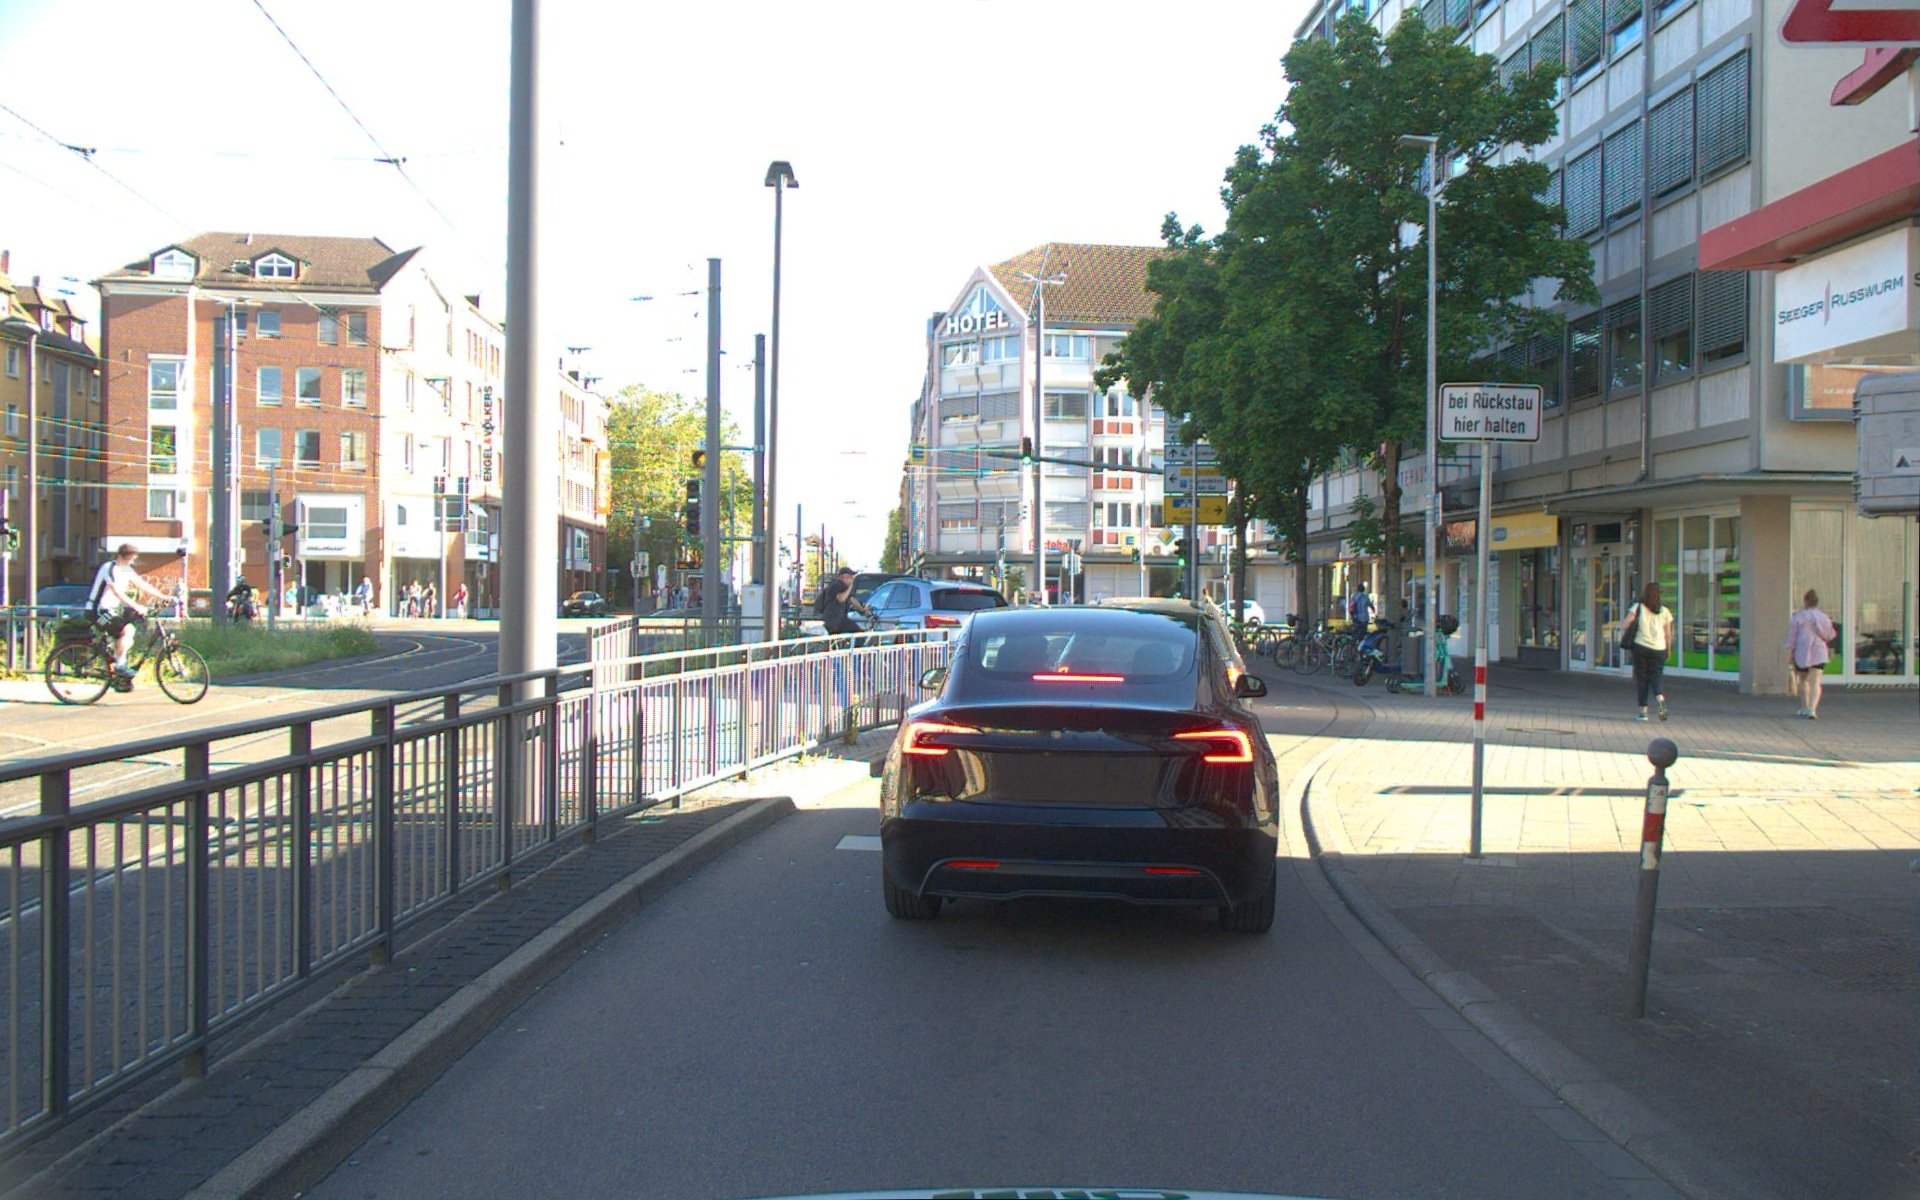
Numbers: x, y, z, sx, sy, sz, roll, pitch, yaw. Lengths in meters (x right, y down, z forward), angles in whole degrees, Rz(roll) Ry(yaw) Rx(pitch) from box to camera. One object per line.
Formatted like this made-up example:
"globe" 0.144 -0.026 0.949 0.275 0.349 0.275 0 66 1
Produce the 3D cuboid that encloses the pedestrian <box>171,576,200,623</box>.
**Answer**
"pedestrian" -31.139 -0.026 66.463 0.767 1.852 0.746 1 -1 1

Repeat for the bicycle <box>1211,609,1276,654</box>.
"bicycle" 7.290 0.802 42.574 1.616 1.118 0.350 1 -1 1

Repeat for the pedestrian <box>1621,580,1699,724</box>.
"pedestrian" 8.929 0.640 21.142 0.895 1.783 1.038 0 0 22

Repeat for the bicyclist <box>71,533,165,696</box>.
"bicyclist" -9.525 0.166 18.740 0.737 1.790 0.756 1 -1 -11

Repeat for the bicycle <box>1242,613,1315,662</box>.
"bicycle" 7.380 0.866 38.395 1.616 1.118 0.350 1 -1 1

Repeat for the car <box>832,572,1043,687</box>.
"car" -0.447 0.443 26.468 1.859 1.691 4.125 1 0 -25

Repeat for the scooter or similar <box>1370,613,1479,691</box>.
"scooter or similar" 7.659 0.840 27.288 1.610 1.236 0.644 1 -1 30

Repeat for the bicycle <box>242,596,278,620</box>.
"bicycle" -28.480 0.325 67.287 0.513 0.988 2.246 1 0 -1

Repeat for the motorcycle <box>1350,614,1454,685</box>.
"motorcycle" 7.809 0.868 29.248 1.673 1.194 0.541 1 -1 -3

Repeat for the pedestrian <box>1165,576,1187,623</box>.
"pedestrian" 7.922 -0.011 60.743 0.685 1.691 0.777 1 -1 -1

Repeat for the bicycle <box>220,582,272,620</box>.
"bicycle" -21.139 0.038 48.979 0.449 1.112 2.202 1 0 3

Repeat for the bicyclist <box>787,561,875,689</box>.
"bicyclist" -1.723 0.325 22.052 0.753 1.657 0.964 1 -1 -39

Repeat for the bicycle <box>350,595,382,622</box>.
"bicycle" -25.404 0.356 70.767 0.526 1.107 2.225 1 0 1

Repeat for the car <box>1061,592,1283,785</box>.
"car" 1.854 0.678 14.973 1.714 1.480 4.003 1 0 6

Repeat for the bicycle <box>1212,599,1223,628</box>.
"bicycle" 9.426 0.483 60.542 0.325 1.052 1.257 -1 -1 8

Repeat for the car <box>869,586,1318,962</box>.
"car" 0.679 0.709 8.696 1.791 1.481 4.002 1 0 4

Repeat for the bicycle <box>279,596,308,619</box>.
"bicycle" -29.671 0.335 73.690 0.396 0.998 1.695 1 0 7

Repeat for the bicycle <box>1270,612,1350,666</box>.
"bicycle" 7.496 0.835 35.445 1.616 1.118 0.350 1 -1 1

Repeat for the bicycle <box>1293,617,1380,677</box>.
"bicycle" 7.275 0.910 31.965 1.620 1.118 0.349 1 -1 -11

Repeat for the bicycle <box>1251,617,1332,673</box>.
"bicycle" 6.881 0.933 34.350 1.620 1.118 0.349 1 -1 -11

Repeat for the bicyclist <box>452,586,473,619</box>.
"bicyclist" -24.123 0.115 80.141 0.767 1.590 0.746 0 0 1

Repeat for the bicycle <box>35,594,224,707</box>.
"bicycle" -9.391 0.570 18.756 1.816 1.244 0.484 1 -1 -12

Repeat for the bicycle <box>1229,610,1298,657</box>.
"bicycle" 7.425 0.821 40.436 1.616 1.118 0.350 1 -1 1

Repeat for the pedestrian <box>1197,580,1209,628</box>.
"pedestrian" 8.966 0.147 60.956 0.393 1.740 0.528 1 -1 6

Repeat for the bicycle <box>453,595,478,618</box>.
"bicycle" -24.136 0.305 80.794 0.518 1.107 2.225 0 0 1

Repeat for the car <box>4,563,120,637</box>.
"car" -20.391 0.003 37.709 1.685 1.553 4.013 1 0 -20

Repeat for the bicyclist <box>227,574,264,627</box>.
"bicyclist" -21.157 0.023 48.977 0.769 1.554 0.589 1 -1 4

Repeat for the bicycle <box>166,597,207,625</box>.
"bicycle" -28.253 0.389 60.440 0.437 0.988 2.246 1 0 -1

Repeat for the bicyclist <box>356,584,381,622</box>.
"bicyclist" -25.359 0.120 70.911 0.767 1.590 0.746 1 -1 1

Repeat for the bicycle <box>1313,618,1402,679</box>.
"bicycle" 7.476 0.919 31.123 1.620 1.118 0.349 1 -1 -11

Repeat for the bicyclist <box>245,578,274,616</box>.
"bicyclist" -28.478 -0.112 67.263 0.880 1.529 0.696 1 -1 -1

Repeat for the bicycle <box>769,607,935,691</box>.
"bicycle" -1.436 0.653 22.385 2.313 1.072 0.622 1 -1 -39

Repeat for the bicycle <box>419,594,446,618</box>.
"bicycle" -25.526 0.291 80.046 0.518 1.107 2.284 1 0 1

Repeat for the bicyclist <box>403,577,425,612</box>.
"bicyclist" -25.358 -0.259 76.876 0.767 1.590 0.746 0 0 1

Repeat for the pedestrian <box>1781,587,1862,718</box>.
"pedestrian" 11.503 0.686 22.106 0.871 1.696 0.808 1 -1 23

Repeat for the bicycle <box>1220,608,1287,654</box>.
"bicycle" 7.359 0.777 41.482 1.616 1.118 0.350 0 0 1

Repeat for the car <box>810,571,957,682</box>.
"car" -1.579 0.488 32.682 1.962 2.049 3.981 0 0 -17

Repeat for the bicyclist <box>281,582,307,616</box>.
"bicyclist" -29.670 -0.039 73.651 0.689 1.496 0.973 0 0 7

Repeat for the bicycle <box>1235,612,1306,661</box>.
"bicycle" 7.396 0.868 39.422 1.616 1.118 0.350 1 -1 1

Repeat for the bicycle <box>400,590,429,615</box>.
"bicycle" -25.330 0.117 76.796 0.518 1.107 2.284 -1 0 1

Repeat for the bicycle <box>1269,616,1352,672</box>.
"bicycle" 7.092 0.888 33.490 1.620 1.118 0.349 1 -1 -11

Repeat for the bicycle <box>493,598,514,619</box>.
"bicycle" -25.319 0.469 91.742 0.518 1.107 2.225 1 0 1

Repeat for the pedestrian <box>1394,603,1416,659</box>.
"pedestrian" 10.871 0.755 40.409 0.381 1.367 0.513 1 -1 1

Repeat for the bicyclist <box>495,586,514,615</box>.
"bicyclist" -25.293 0.035 91.851 0.767 1.590 0.746 1 -1 1

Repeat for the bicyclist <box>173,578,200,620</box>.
"bicyclist" -28.253 -0.029 60.436 0.620 1.529 0.696 1 -1 -1

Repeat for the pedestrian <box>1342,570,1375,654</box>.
"pedestrian" 9.858 0.291 40.945 0.648 2.049 0.579 1 -1 1

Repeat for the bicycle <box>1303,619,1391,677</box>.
"bicycle" 7.380 0.910 31.543 1.620 1.079 0.349 1 -1 -11

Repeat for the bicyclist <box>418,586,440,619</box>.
"bicyclist" -25.504 0.123 79.432 0.767 1.590 0.746 0 0 1

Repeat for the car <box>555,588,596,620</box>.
"car" -22.259 0.242 95.784 1.663 1.762 3.704 1 0 -3
